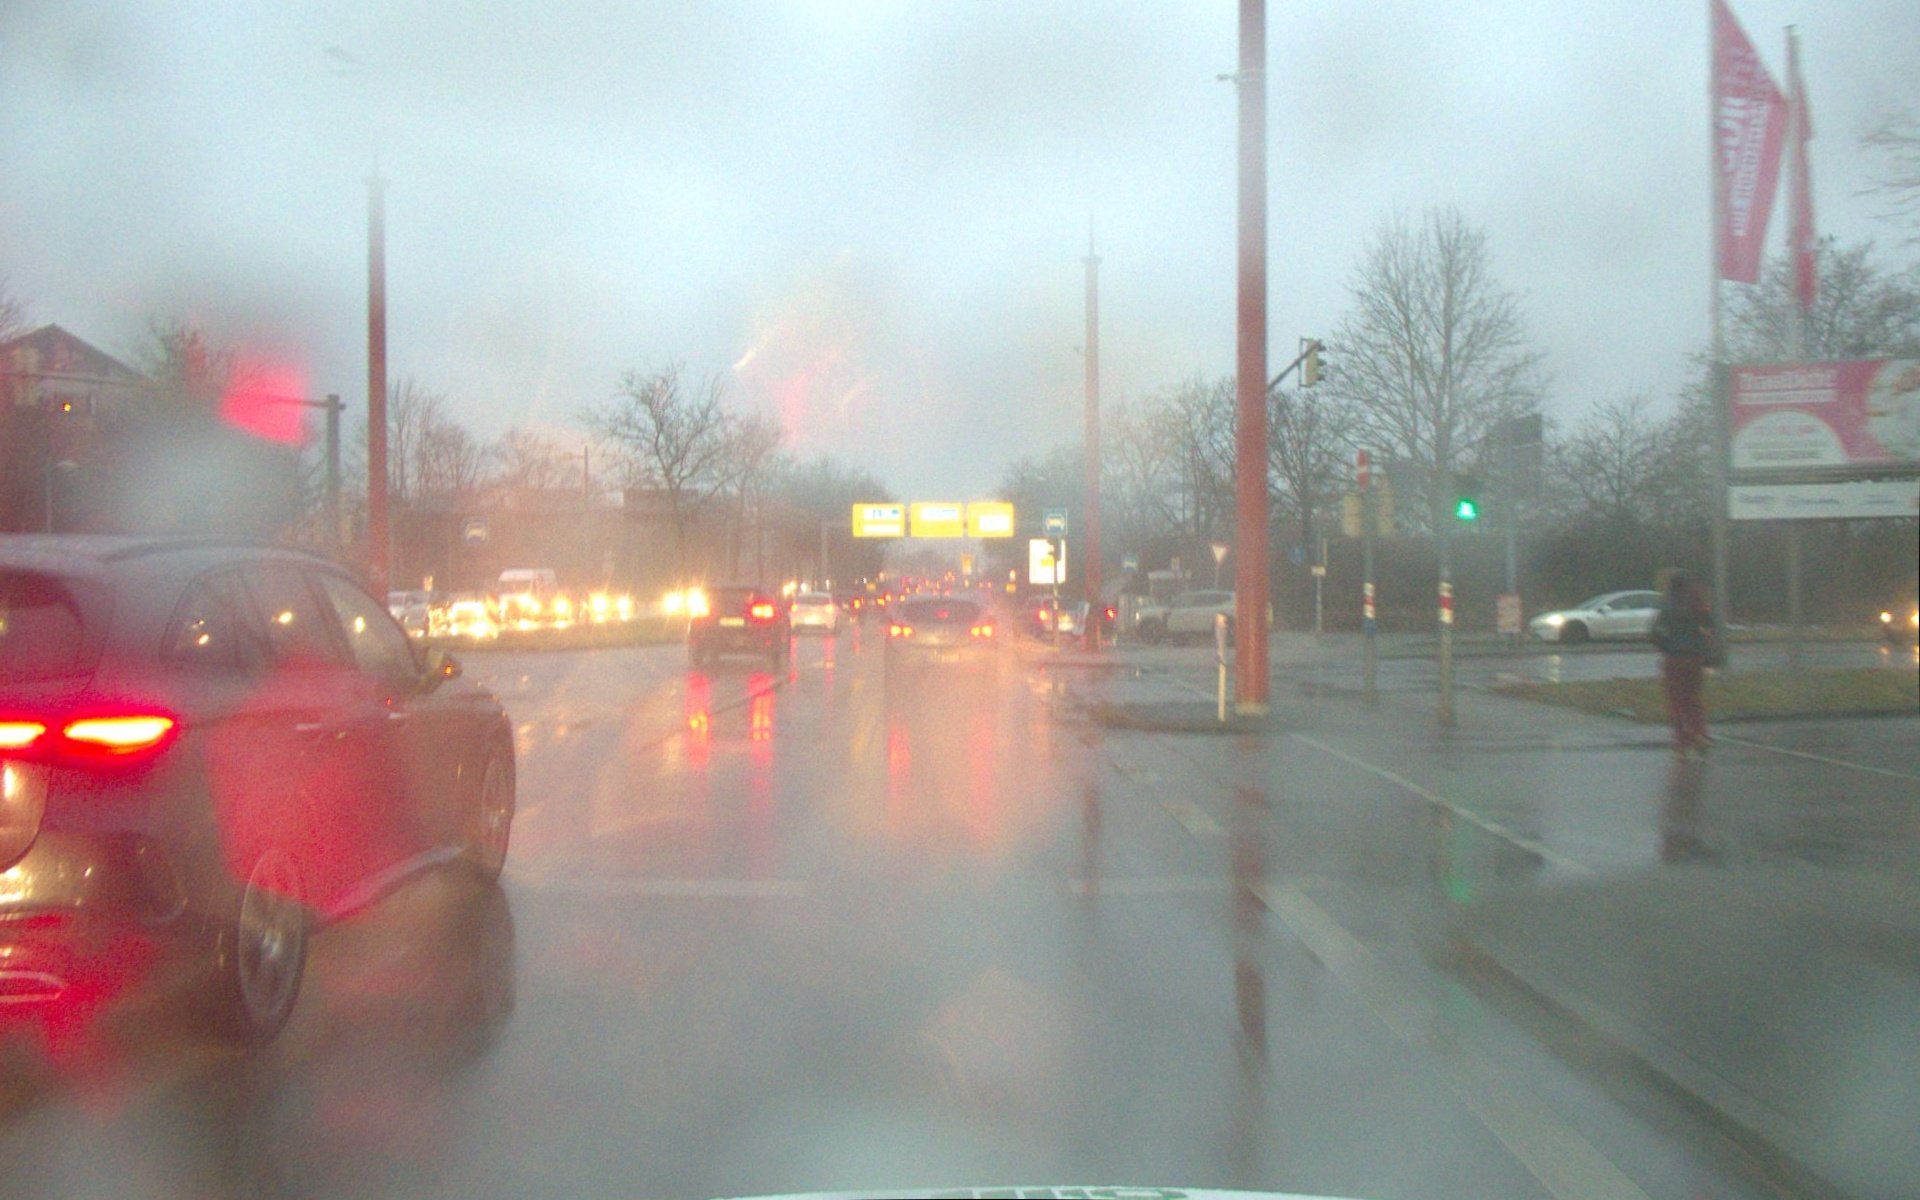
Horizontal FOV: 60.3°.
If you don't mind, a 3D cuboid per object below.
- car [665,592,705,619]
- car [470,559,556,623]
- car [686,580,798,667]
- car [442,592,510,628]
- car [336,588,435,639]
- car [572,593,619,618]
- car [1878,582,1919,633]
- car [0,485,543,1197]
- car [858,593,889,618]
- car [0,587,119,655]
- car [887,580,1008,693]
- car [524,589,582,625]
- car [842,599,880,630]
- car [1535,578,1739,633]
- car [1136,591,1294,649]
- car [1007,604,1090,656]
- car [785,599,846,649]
[{"bbox_3d":[-16.590,0.303,99.991,1.734,1.563,4.840,0,1,-1],"label":"car"},{"bbox_3d":[-22.782,-0.422,84.702,2.244,3.057,7.347,1,0,1],"label":"car"},{"bbox_3d":[-4.433,0.451,34.171,1.785,1.677,4.000,0,0,0],"label":"car"},{"bbox_3d":[-22.145,0.419,75.829,1.733,1.563,4.446,0,1,1],"label":"car"},{"bbox_3d":[-18.797,0.407,54.324,1.734,1.560,4.524,0,1,-1],"label":"car"},{"bbox_3d":[-22.194,0.307,100.850,1.865,1.472,4.442,1,0,-1],"label":"car"},{"bbox_3d":[26.820,0.176,44.322,3.924,1.332,1.629,0,0,-17],"label":"car"},{"bbox_3d":[-3.005,0.559,6.121,1.785,1.677,4.466,0,0,0],"label":"car"},{"bbox_3d":[-5.504,0.331,106.023,1.785,1.530,4.000,0,0,0],"label":"car"},{"bbox_3d":[-22.502,0.470,40.641,1.734,1.581,3.946,0,1,-2],"label":"car"},{"bbox_3d":[-0.182,0.525,26.697,1.785,1.676,4.466,0,0,0],"label":"car"},{"bbox_3d":[-18.971,0.287,77.244,1.734,1.614,4.032,0,1,-1],"label":"car"},{"bbox_3d":[-4.433,0.621,74.358,1.474,1.362,4.000,0,0,0],"label":"car"},{"bbox_3d":[17.638,0.136,43.293,4.638,1.400,1.884,0,0,9],"label":"car"},{"bbox_3d":[7.492,0.559,48.766,4.326,1.646,1.813,0,0,39],"label":"car"},{"bbox_3d":[3.013,1.006,57.161,1.898,1.677,4.456,1,0,-10],"label":"car"},{"bbox_3d":[-5.050,0.818,58.234,1.785,1.677,4.000,0,0,0],"label":"car"}]
